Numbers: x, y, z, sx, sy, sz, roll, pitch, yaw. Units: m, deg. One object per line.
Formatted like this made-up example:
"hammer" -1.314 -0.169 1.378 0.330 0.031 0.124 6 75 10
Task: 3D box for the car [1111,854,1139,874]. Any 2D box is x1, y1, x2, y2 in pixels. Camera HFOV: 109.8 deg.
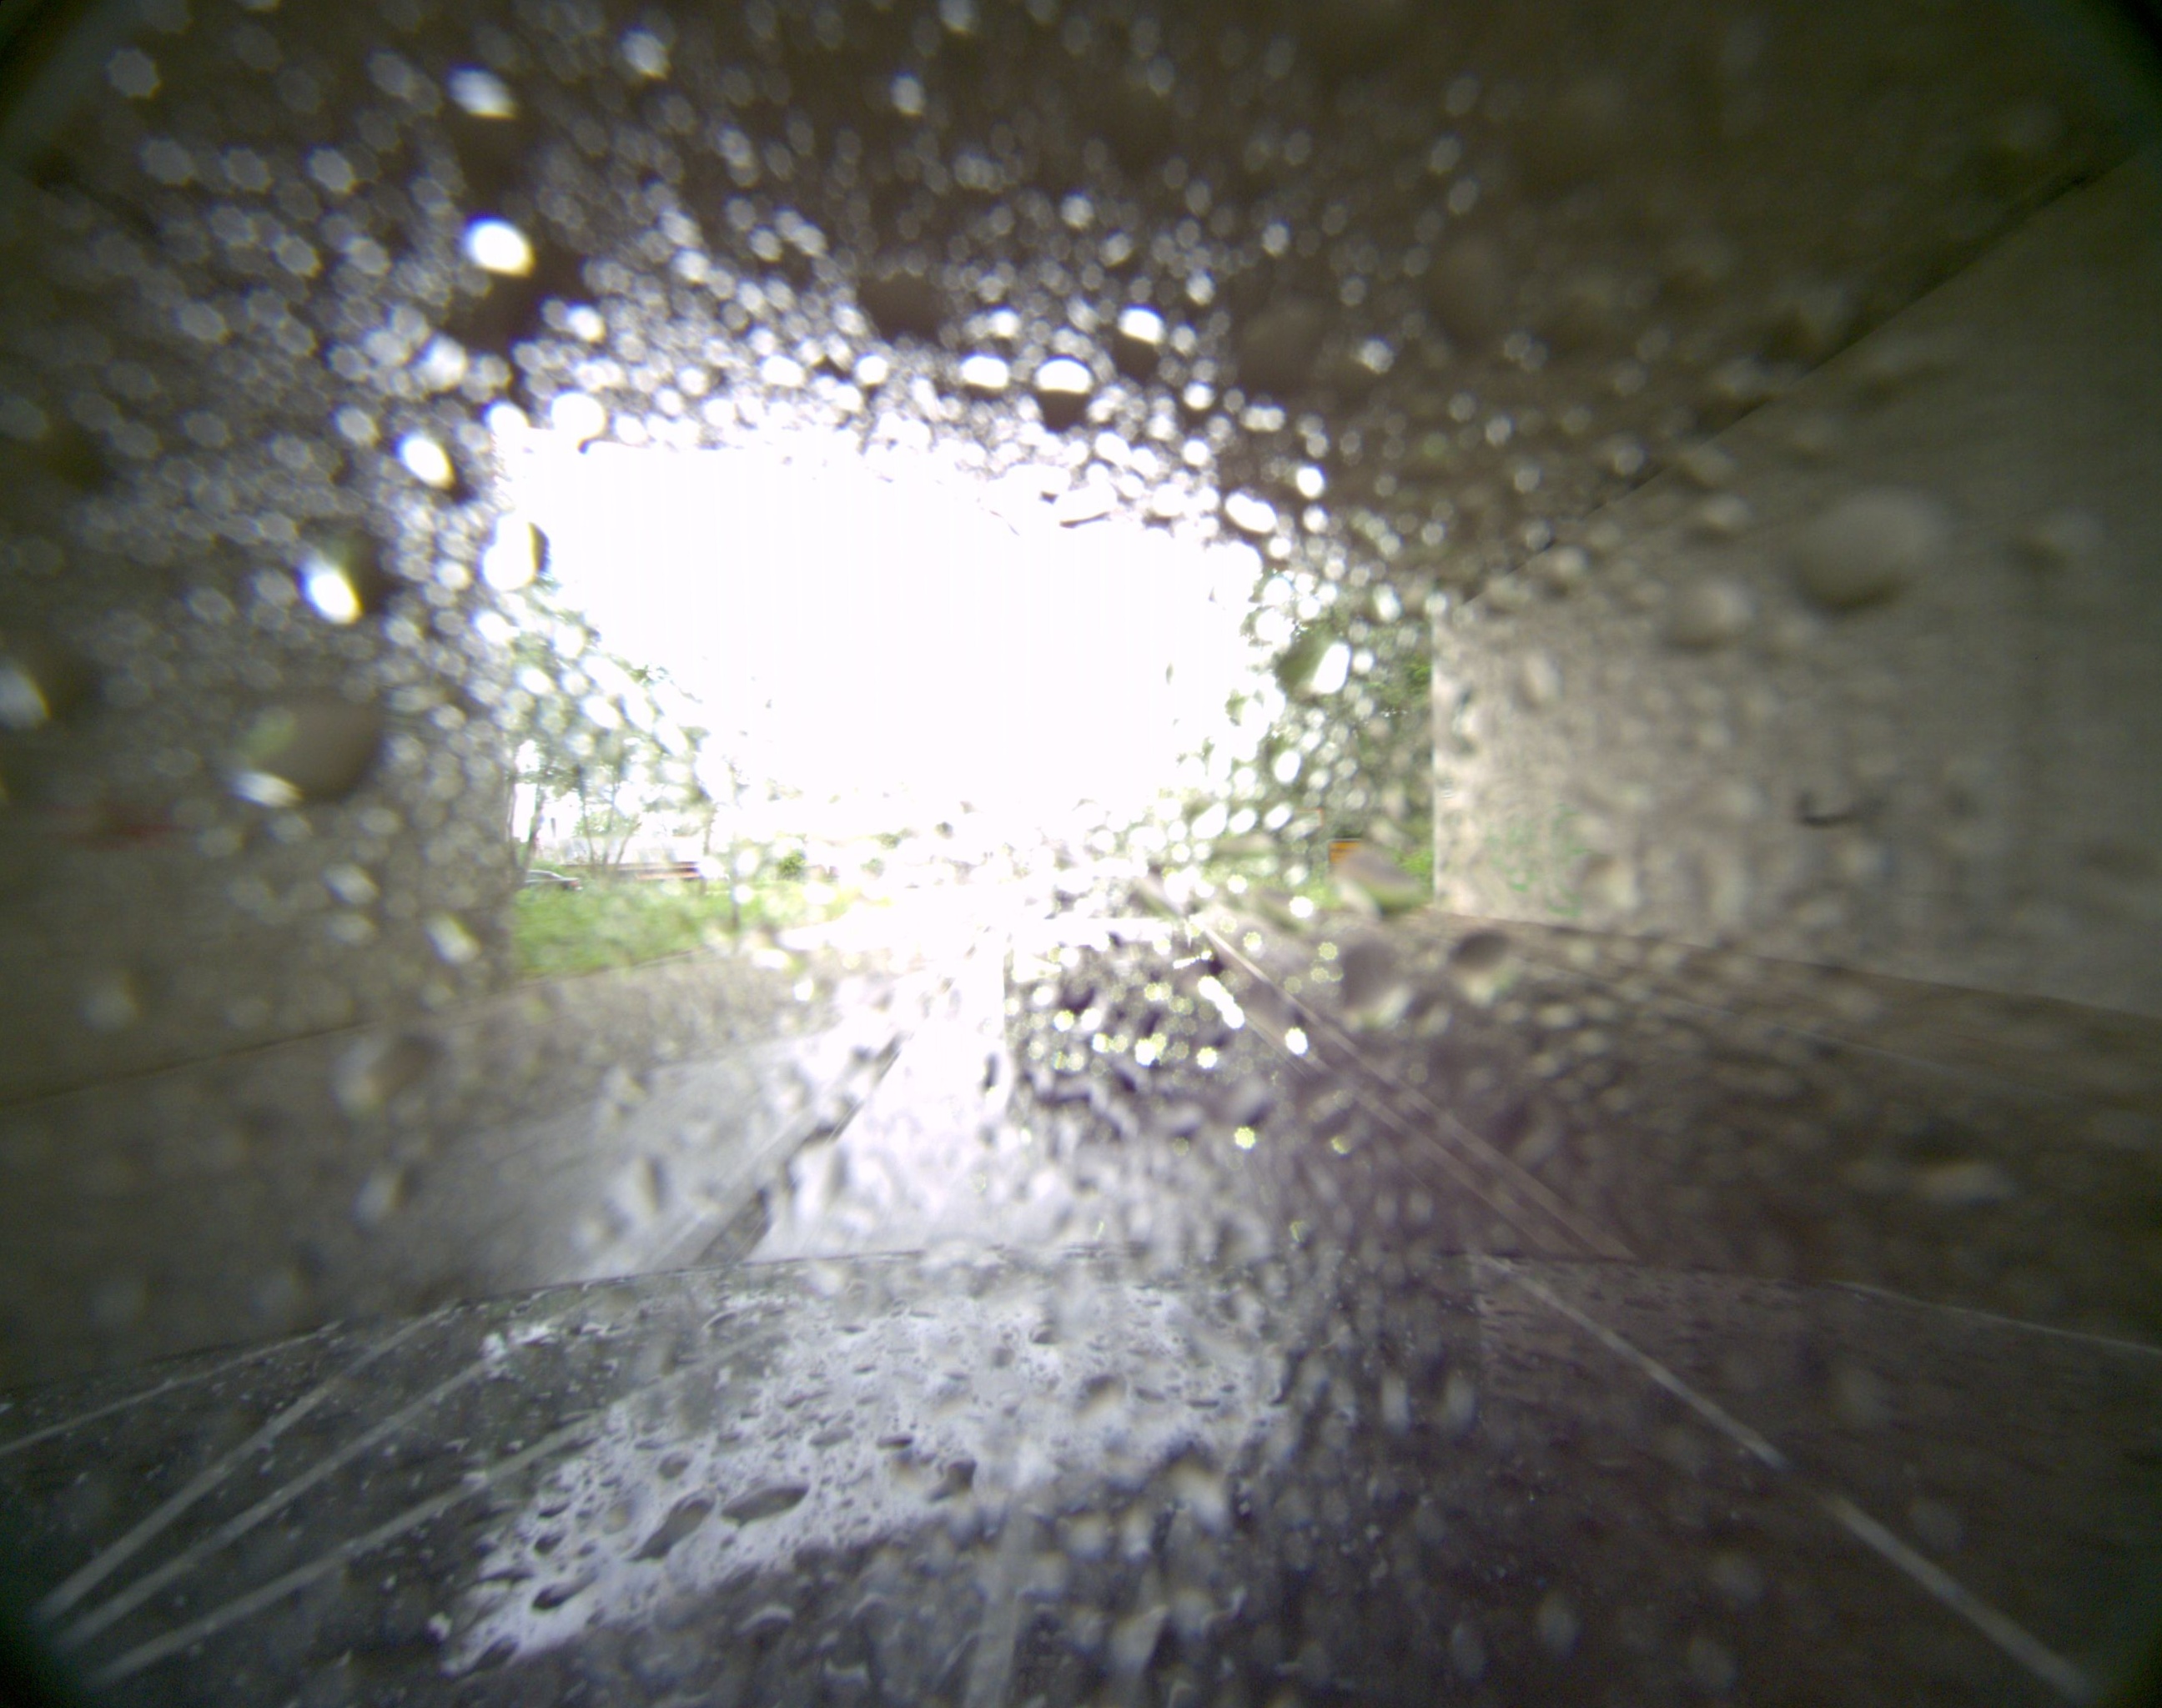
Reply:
"car" 3.411 0.731 59.170 1.695 1.478 4.071 -2 0 -2

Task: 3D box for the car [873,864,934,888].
"car" -12.832 1.562 54.890 3.862 1.523 1.715 -3 1 -33

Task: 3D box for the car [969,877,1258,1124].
"car" 0.193 0.995 7.085 1.767 1.316 4.548 -3 0 0
